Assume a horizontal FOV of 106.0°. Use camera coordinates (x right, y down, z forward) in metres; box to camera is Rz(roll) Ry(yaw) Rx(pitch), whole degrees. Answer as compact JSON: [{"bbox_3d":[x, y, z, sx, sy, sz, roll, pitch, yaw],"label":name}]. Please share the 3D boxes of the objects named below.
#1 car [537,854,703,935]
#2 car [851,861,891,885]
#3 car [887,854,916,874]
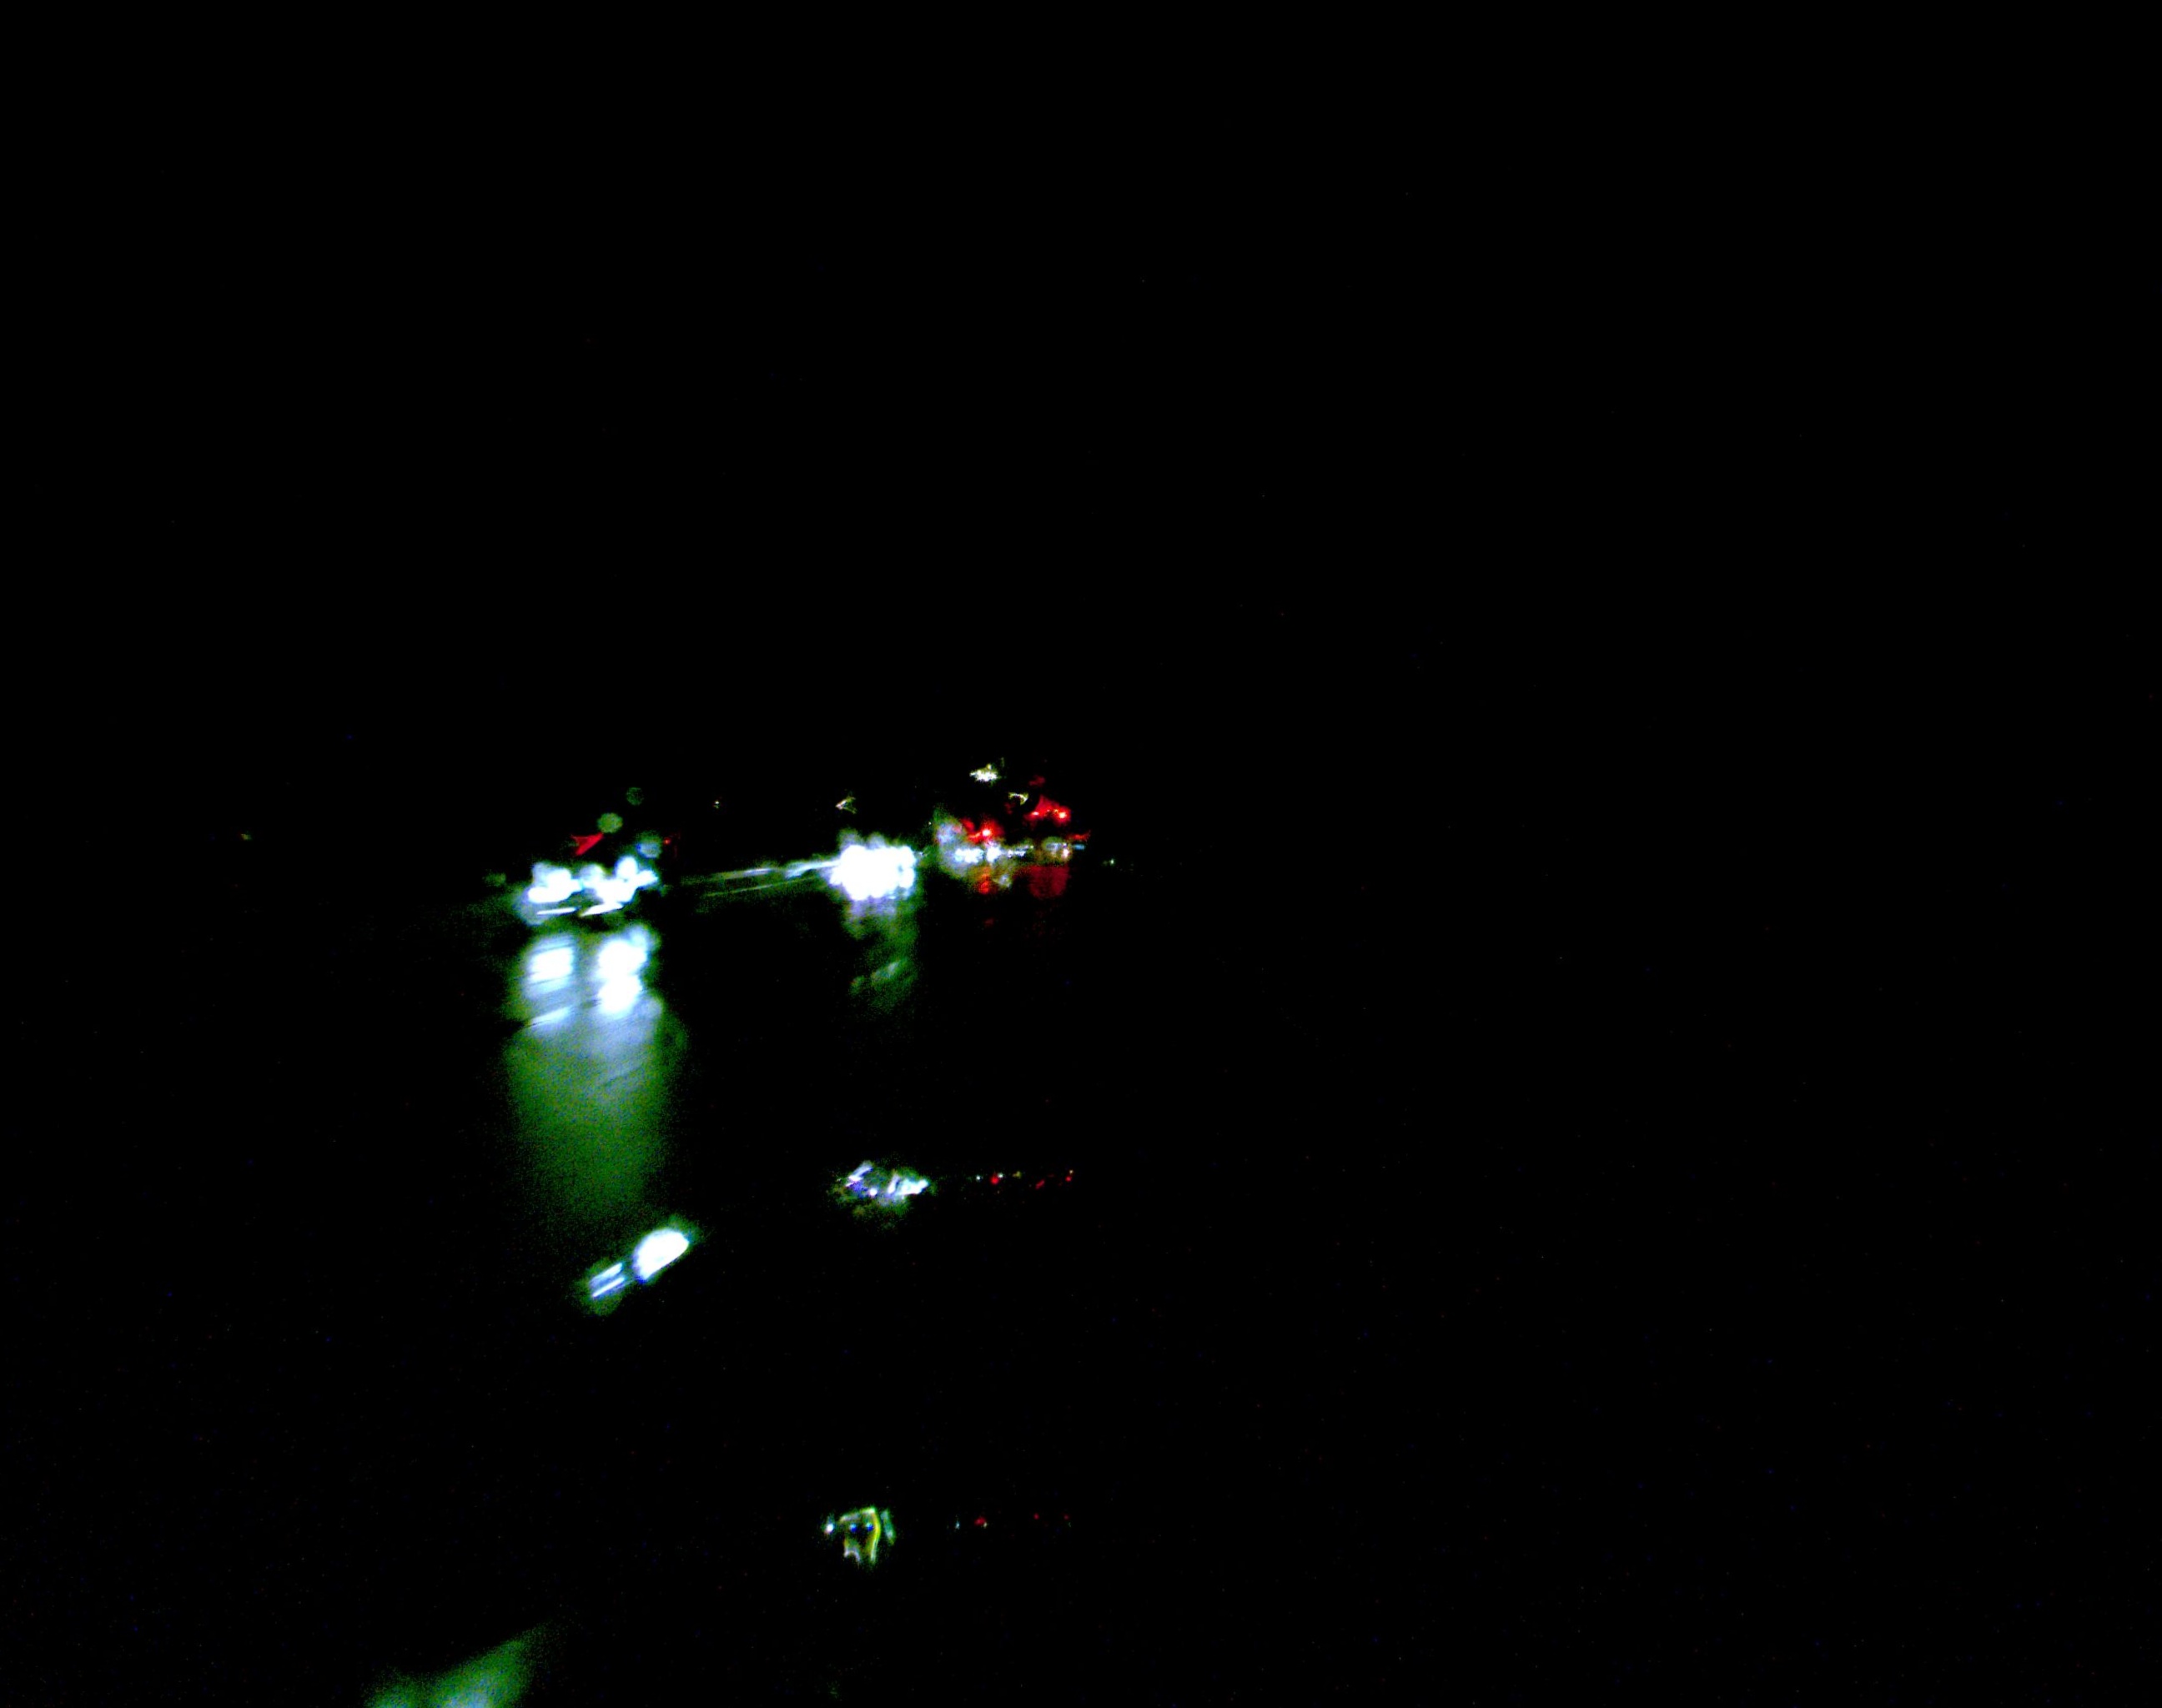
[{"bbox_3d":[-11.039,0.878,19.935,2.199,1.745,4.508,0,0,-11],"label":"car"},{"bbox_3d":[-13.469,1.213,52.443,1.830,1.442,4.481,0,0,-6],"label":"car"},{"bbox_3d":[-14.833,0.770,67.451,1.788,1.441,3.849,-3,1,-5],"label":"car"}]
